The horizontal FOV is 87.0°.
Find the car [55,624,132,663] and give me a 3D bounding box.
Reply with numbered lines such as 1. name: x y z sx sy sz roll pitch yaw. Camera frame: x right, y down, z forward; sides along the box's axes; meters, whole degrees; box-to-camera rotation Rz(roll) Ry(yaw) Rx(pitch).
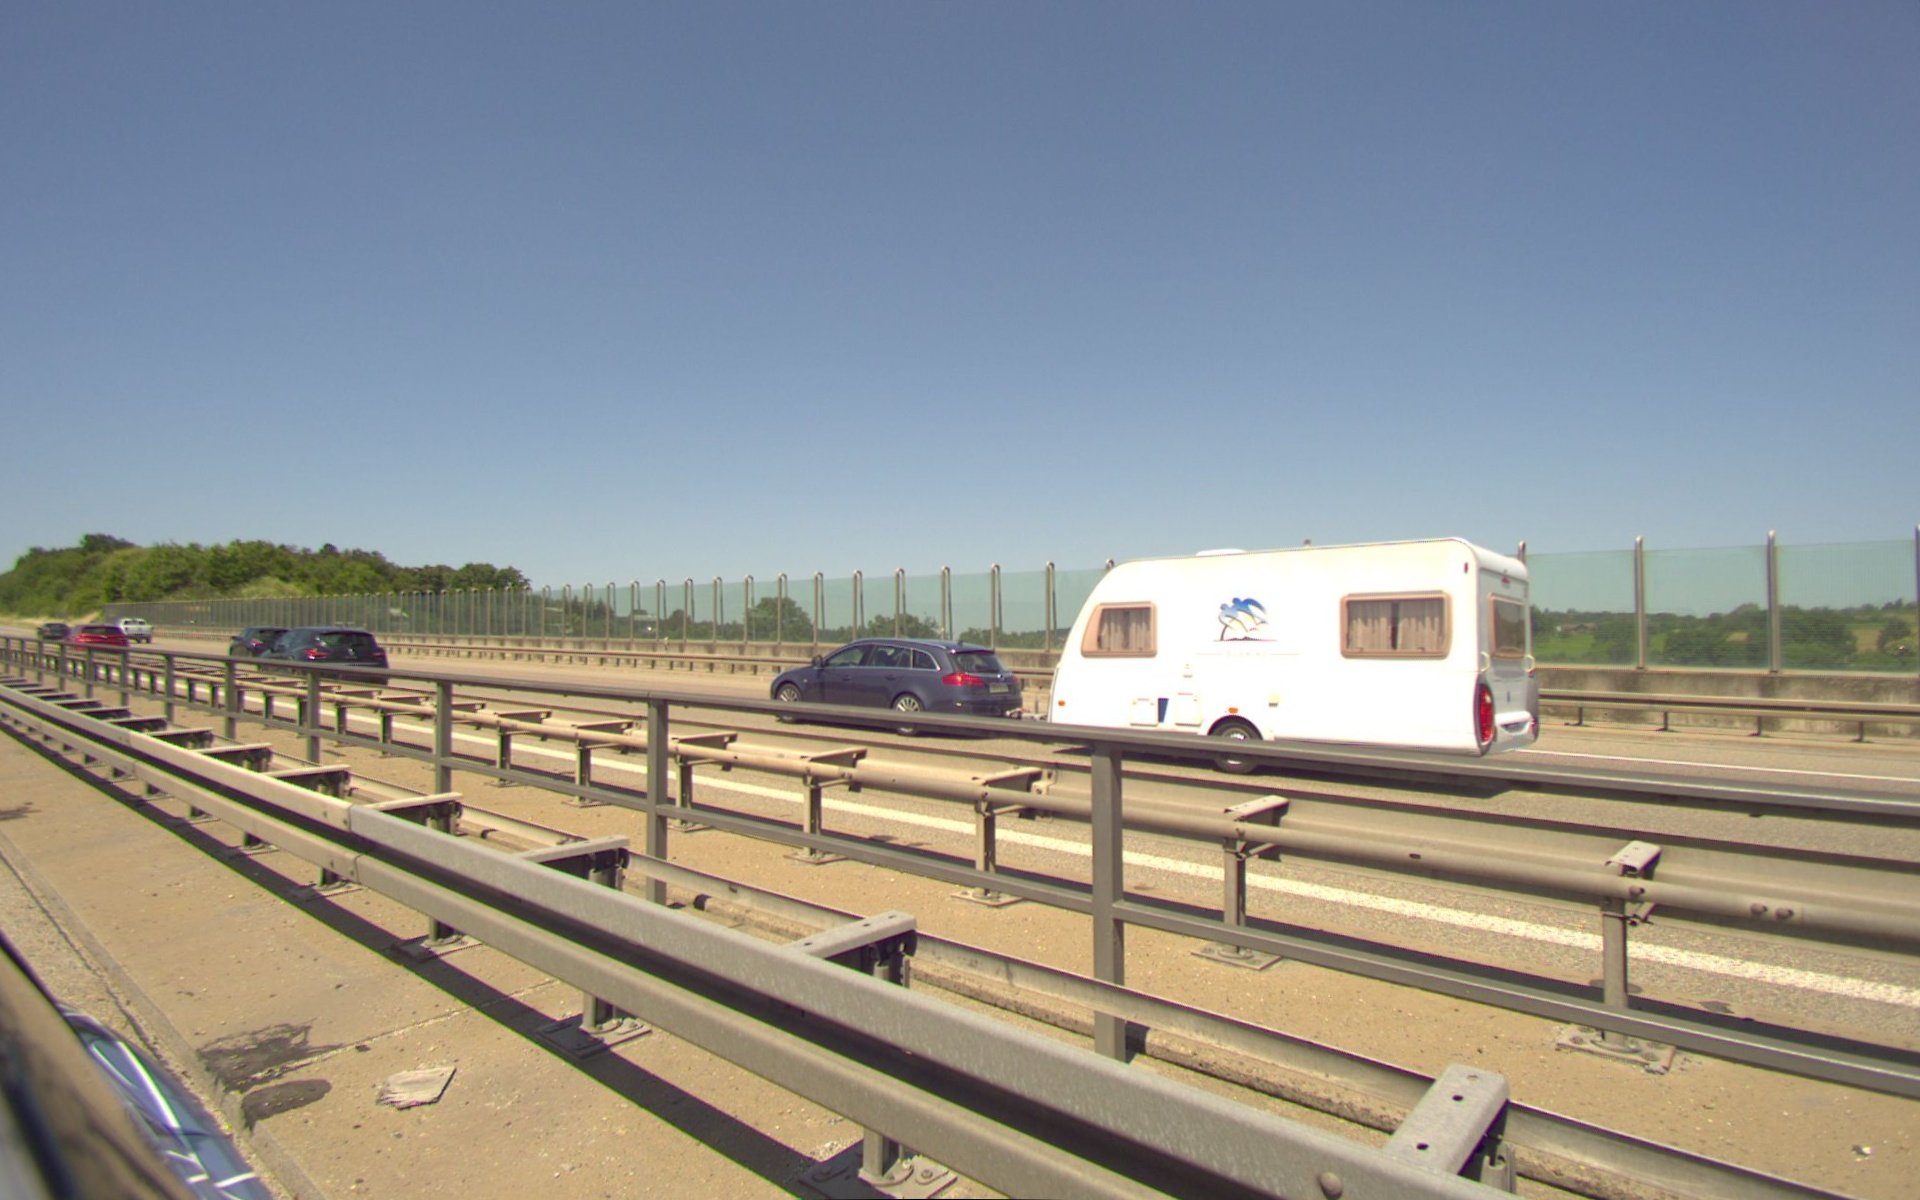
1. car: -35.037 1.755 40.896 3.987 1.489 1.772 -2 -5 41

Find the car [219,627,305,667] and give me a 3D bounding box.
1. car: -27.789 1.848 40.225 4.417 1.503 1.712 -2 -4 41

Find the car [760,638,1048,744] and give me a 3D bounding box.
1. car: -1.016 1.345 16.108 4.680 1.418 1.757 -1 -4 41

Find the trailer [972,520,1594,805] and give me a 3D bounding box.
1. trailer: 3.519 0.670 12.292 6.771 2.569 2.467 -1 -3 41

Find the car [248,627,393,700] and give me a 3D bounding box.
1. car: -14.155 1.373 22.327 3.999 1.459 1.650 -2 -5 42

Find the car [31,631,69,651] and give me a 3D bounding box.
1. car: -67.191 3.027 74.713 4.177 1.360 1.581 -1 -4 41

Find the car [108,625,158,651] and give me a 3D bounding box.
1. car: -63.526 2.928 77.721 5.252 1.899 1.973 -1 -4 41
